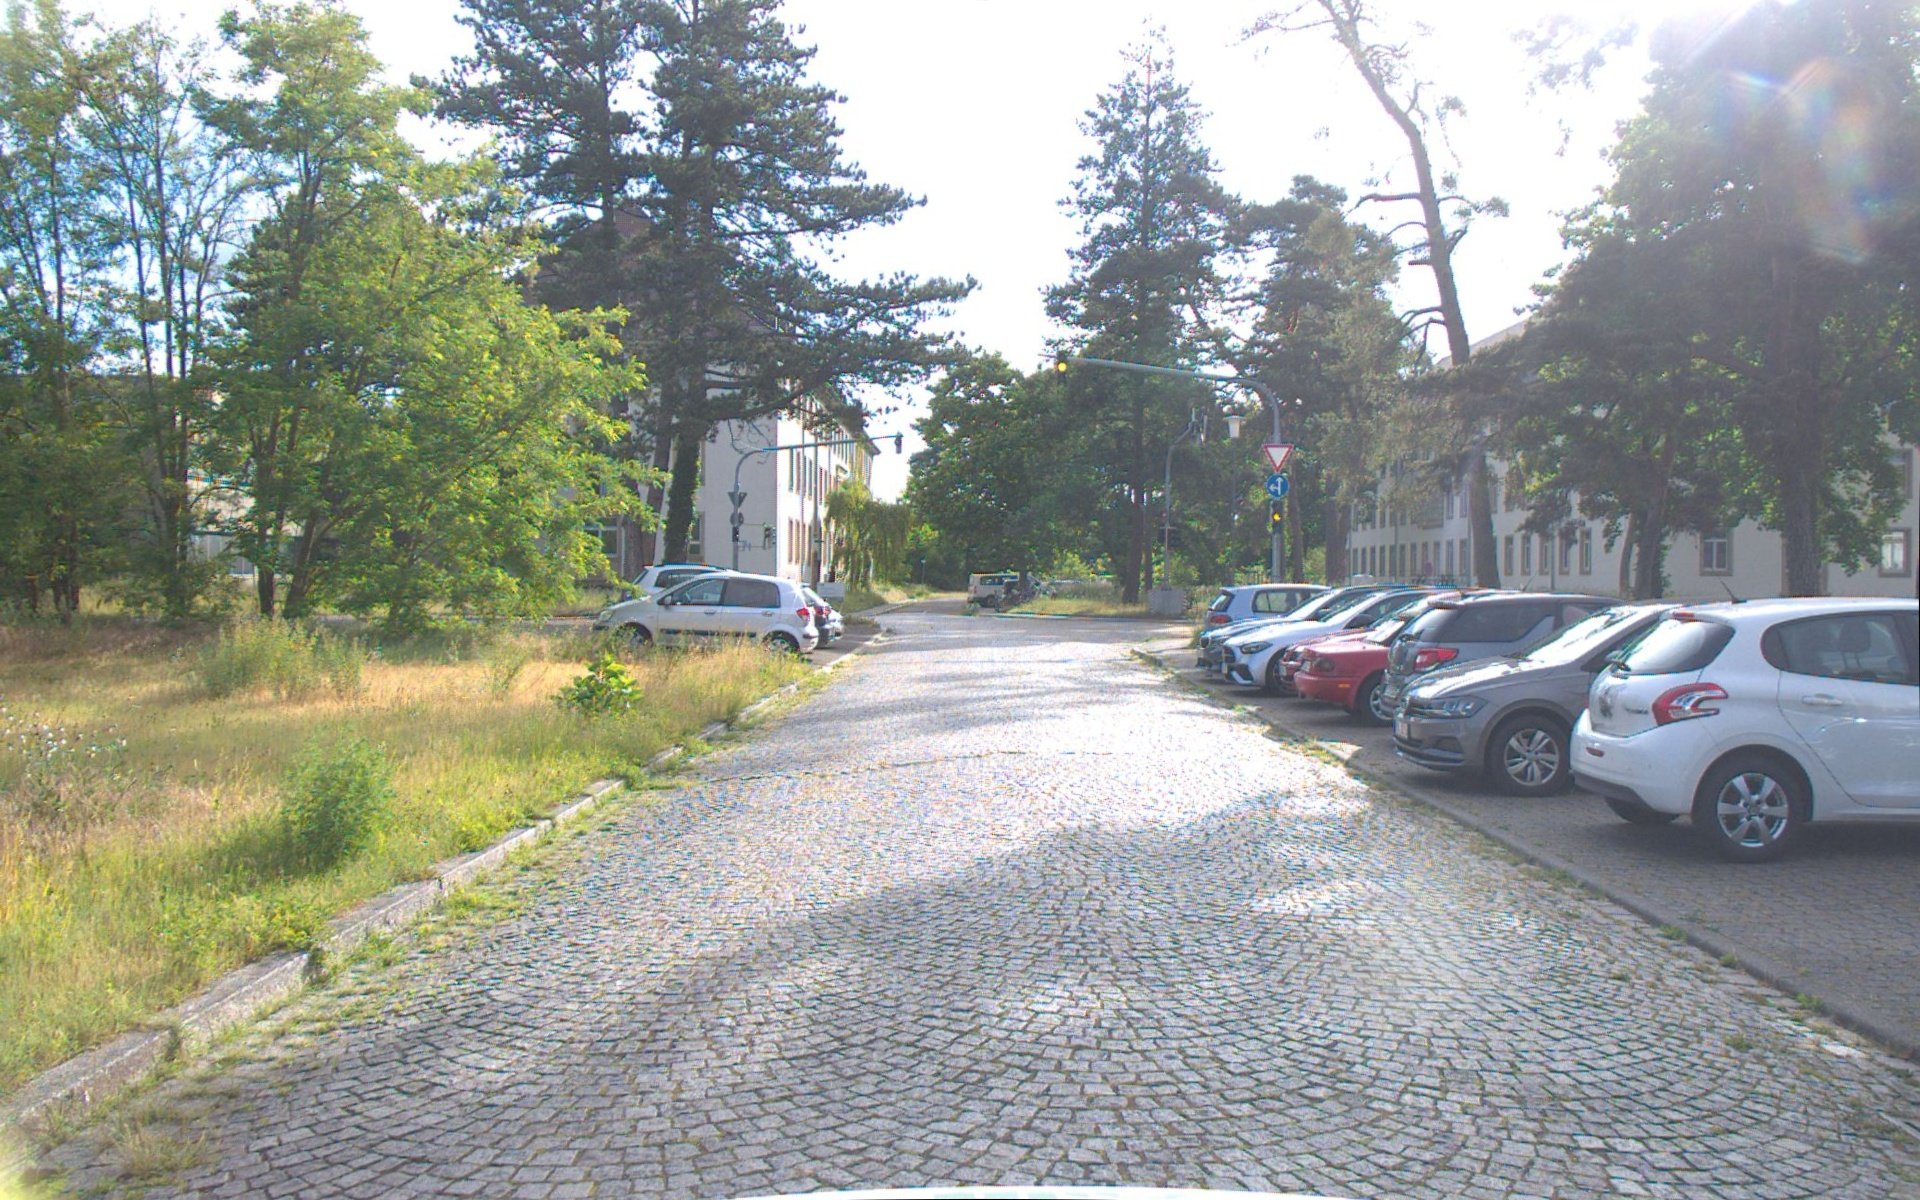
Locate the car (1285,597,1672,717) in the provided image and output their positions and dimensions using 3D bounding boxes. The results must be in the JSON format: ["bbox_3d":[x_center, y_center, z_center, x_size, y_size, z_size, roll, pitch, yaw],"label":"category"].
[{"bbox_3d":[5.777,0.619,18.752,3.869,1.283,1.727,0,0,1],"label":"car"}]

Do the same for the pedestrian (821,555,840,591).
[{"bbox_3d":[-7.229,-1.491,92.298,0.965,1.997,0.932,1,0,0],"label":"pedestrian"}]

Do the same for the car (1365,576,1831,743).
[{"bbox_3d":[6.089,0.545,16.111,3.869,1.521,1.772,0,0,1],"label":"car"}]

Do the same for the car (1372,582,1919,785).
[{"bbox_3d":[5.437,0.615,13.191,3.869,1.493,1.831,0,0,1],"label":"car"}]

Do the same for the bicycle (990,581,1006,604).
[{"bbox_3d":[1.770,-0.361,76.319,0.713,1.016,1.799,0,2,0],"label":"bicycle"}]

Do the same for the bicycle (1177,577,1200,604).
[{"bbox_3d":[9.078,-0.381,65.699,0.551,1.016,1.751,0,2,-4],"label":"bicycle"}]

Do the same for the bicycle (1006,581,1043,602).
[{"bbox_3d":[3.147,-0.408,80.924,1.756,1.016,0.644,0,1,-1],"label":"bicycle"}]

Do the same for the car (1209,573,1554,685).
[{"bbox_3d":[5.869,0.392,23.399,4.414,1.499,1.849,0,0,0],"label":"car"}]

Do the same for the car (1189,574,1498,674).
[{"bbox_3d":[5.999,0.353,26.177,4.417,1.499,1.894,0,0,-4],"label":"car"}]

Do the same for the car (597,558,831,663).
[{"bbox_3d":[-4.091,0.164,27.962,3.609,1.499,1.849,3,0,-1],"label":"car"}]

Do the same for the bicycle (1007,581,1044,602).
[{"bbox_3d":[3.141,-0.404,79.903,1.756,1.016,0.644,0,1,-1],"label":"bicycle"}]

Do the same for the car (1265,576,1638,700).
[{"bbox_3d":[6.182,0.459,21.127,4.252,1.499,1.740,0,0,0],"label":"car"}]

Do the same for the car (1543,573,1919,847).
[{"bbox_3d":[5.849,0.619,10.331,3.794,1.557,1.808,0,0,1],"label":"car"}]

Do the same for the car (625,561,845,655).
[{"bbox_3d":[-4.106,0.139,30.618,3.751,1.454,1.859,3,0,-1],"label":"car"}]

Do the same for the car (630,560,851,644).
[{"bbox_3d":[-4.691,0.025,35.857,4.495,1.480,1.903,3,2,-2],"label":"car"}]

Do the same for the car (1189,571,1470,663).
[{"bbox_3d":[6.365,0.274,28.801,4.452,1.531,1.932,0,0,-2],"label":"car"}]

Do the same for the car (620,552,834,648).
[{"bbox_3d":[-4.622,-0.003,33.314,4.041,1.627,1.857,3,0,-4],"label":"car"}]

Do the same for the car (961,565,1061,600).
[{"bbox_3d":[2.964,-1.020,95.838,5.407,1.949,2.246,1,0,-14],"label":"car"}]

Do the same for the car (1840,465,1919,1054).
[{"bbox_3d":[5.504,0.482,4.978,4.636,1.962,1.992,-1,0,0],"label":"car"}]

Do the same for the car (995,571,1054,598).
[{"bbox_3d":[3.591,-0.862,92.269,2.979,1.491,1.715,1,0,-12],"label":"car"}]
